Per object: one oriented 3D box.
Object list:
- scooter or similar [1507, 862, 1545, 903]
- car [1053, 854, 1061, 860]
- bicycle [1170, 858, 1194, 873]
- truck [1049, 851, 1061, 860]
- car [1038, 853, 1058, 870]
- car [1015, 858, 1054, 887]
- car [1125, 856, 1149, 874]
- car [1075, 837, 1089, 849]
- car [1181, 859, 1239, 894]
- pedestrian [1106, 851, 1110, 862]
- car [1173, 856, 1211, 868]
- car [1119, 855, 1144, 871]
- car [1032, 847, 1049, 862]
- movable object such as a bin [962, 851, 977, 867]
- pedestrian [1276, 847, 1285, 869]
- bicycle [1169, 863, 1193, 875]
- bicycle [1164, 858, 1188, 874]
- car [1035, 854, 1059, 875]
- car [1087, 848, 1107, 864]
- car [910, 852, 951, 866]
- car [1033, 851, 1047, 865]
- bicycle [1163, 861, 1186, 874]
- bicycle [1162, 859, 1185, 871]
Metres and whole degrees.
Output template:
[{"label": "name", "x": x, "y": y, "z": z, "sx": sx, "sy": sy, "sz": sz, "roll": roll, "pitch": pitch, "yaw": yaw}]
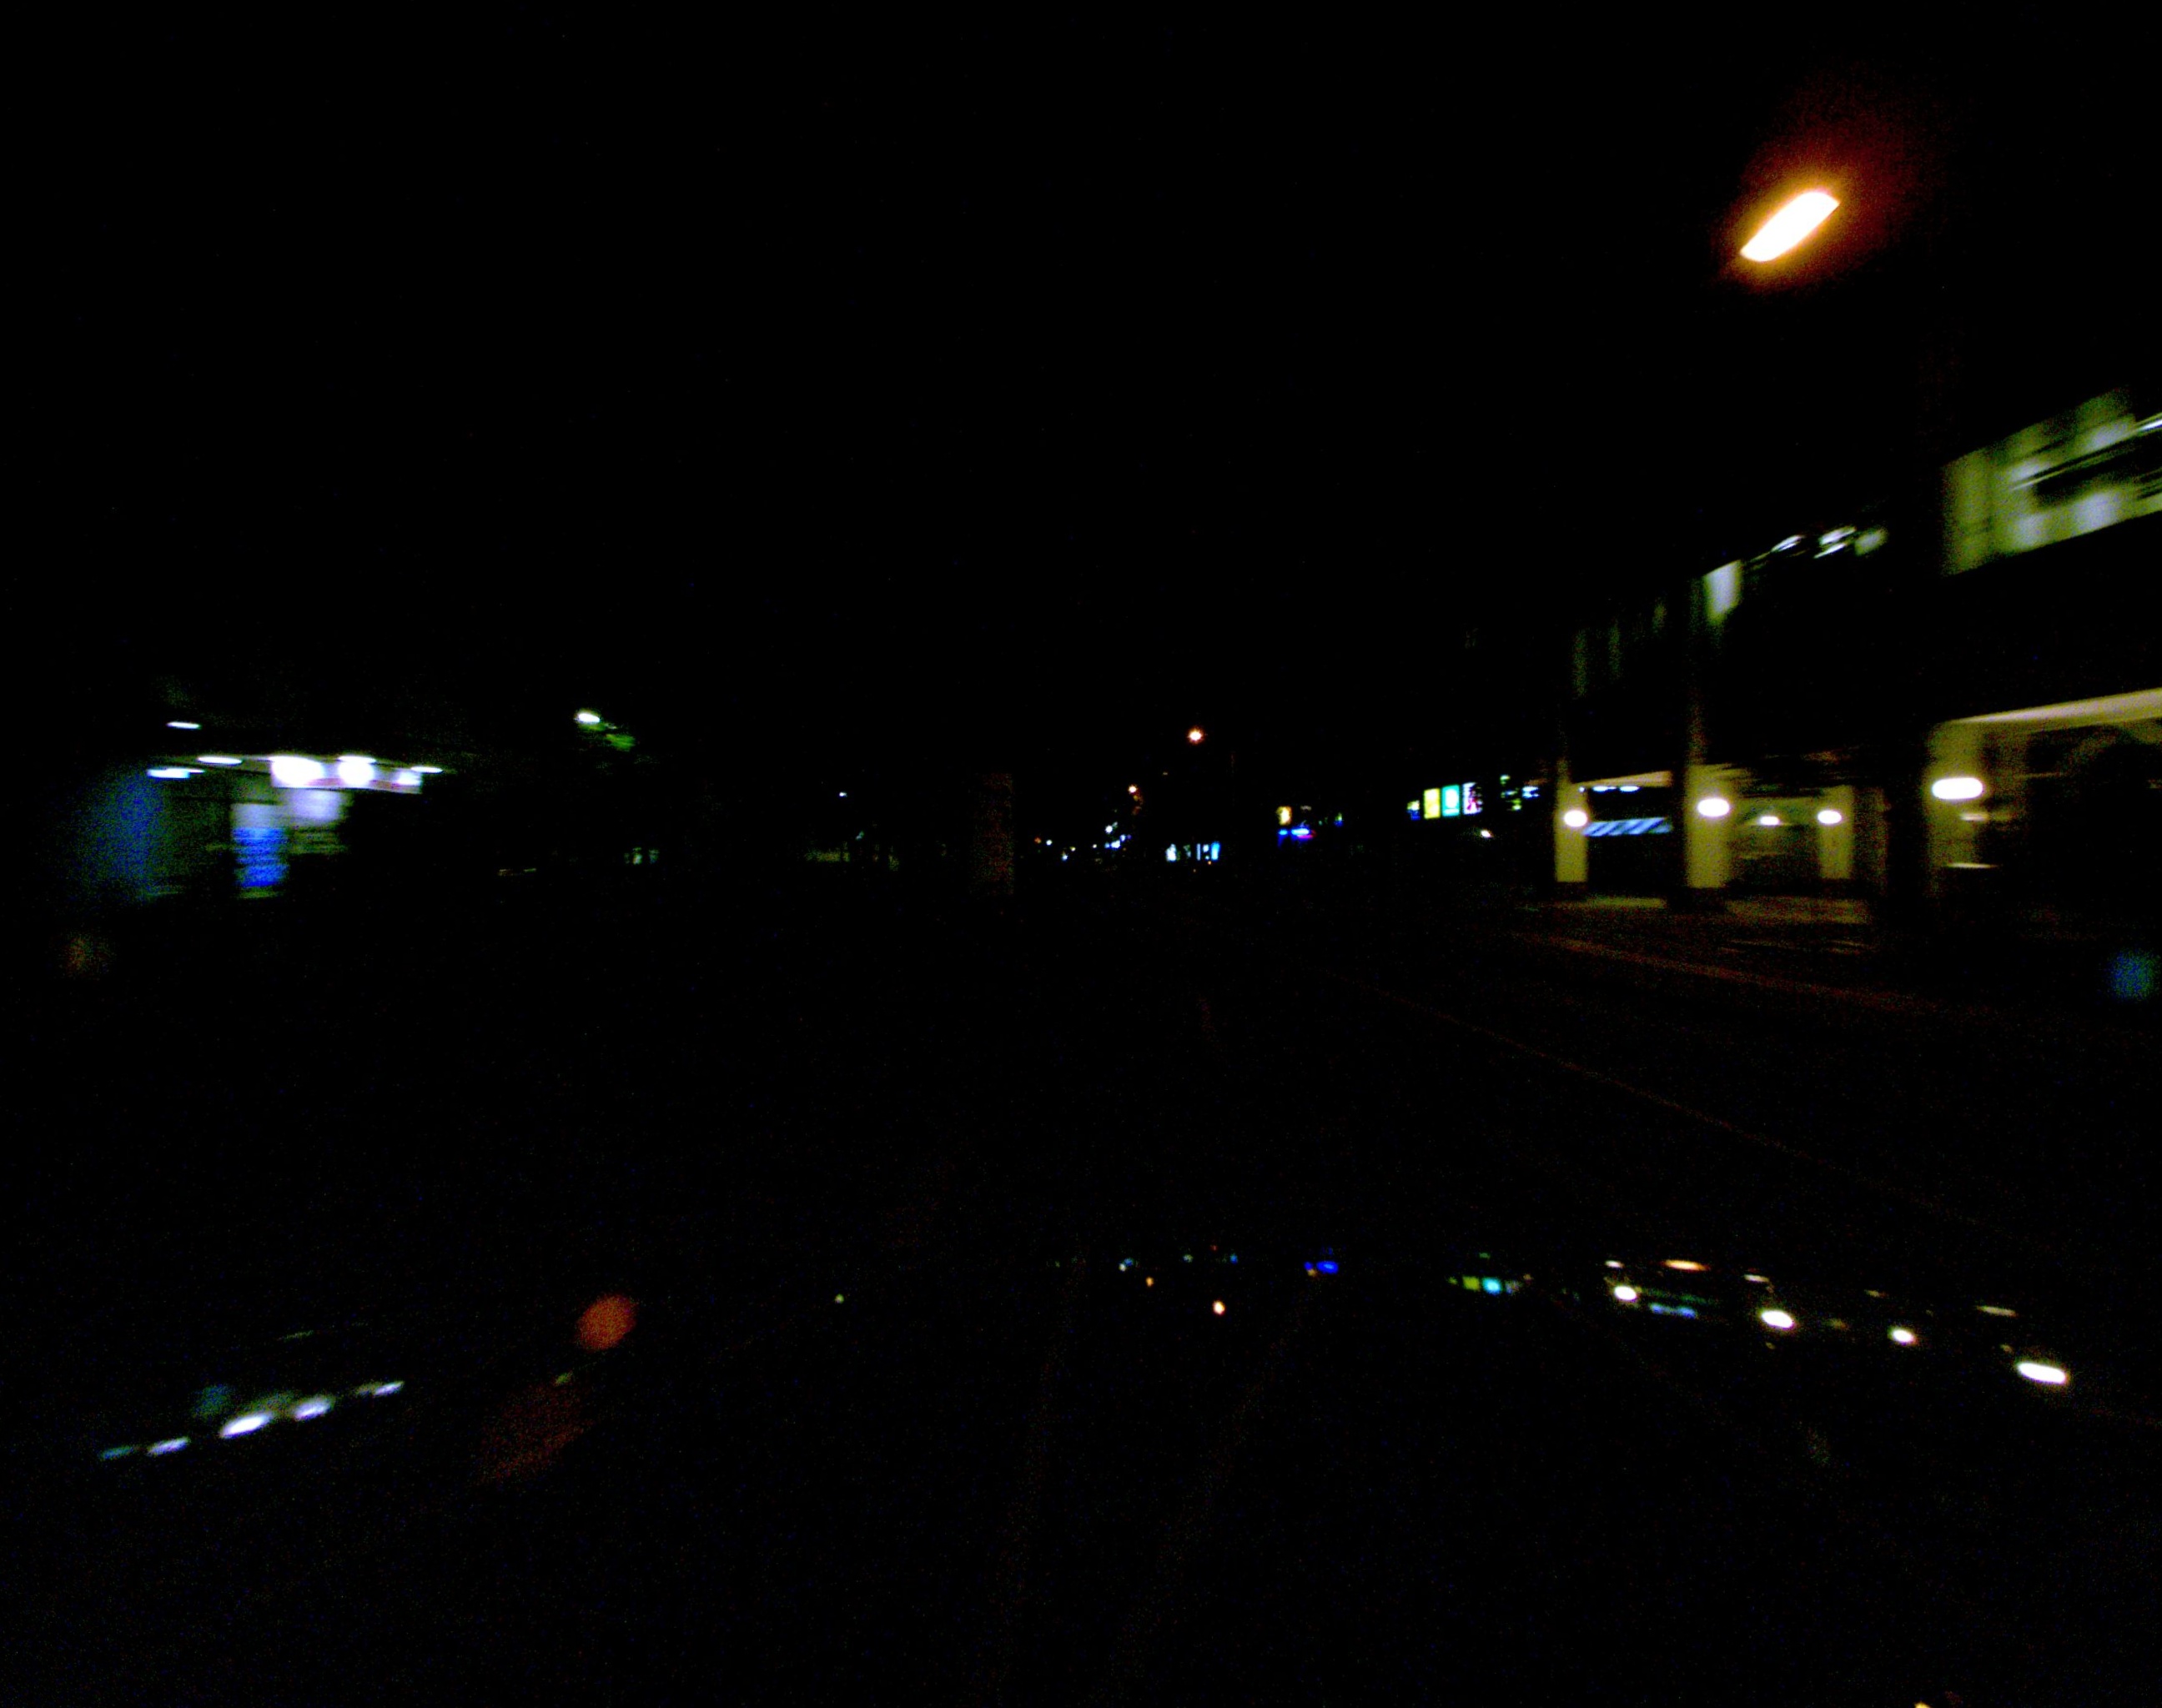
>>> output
[{"label": "scooter or similar", "x": 13.693, "y": 0.849, "z": 23.404, "sx": 0.388, "sy": 1.214, "sz": 1.344, "roll": 0, "pitch": 0, "yaw": 1}, {"label": "car", "x": -6.201, "y": 0.838, "z": 196.206, "sx": 1.737, "sy": 1.493, "sz": 4.001, "roll": 0, "pitch": 0, "yaw": 3}, {"label": "bicycle", "x": 8.075, "y": 0.925, "z": 60.724, "sx": 1.856, "sy": 1.159, "sz": 0.532, "roll": 0, "pitch": 1, "yaw": -2}, {"label": "truck", "x": -6.200, "y": 0.378, "z": 181.455, "sx": 2.110, "sy": 2.230, "sz": 6.288, "roll": 0, "pitch": 0, "yaw": 3}, {"label": "car", "x": -3.097, "y": 0.683, "z": 72.397, "sx": 1.775, "sy": 1.528, "sz": 4.215, "roll": 2, "pitch": 0, "yaw": -1}, {"label": "car", "x": -2.360, "y": 0.911, "z": 39.689, "sx": 1.769, "sy": 1.406, "sz": 4.807, "roll": 0, "pitch": 0, "yaw": -1}, {"label": "car", "x": 4.877, "y": 0.916, "z": 66.622, "sx": 1.726, "sy": 1.420, "sz": 3.975, "roll": -2, "pitch": 0, "yaw": -1}, {"label": "car", "x": 0.160, "y": -1.803, "z": 127.376, "sx": 1.930, "sy": 1.954, "sz": 5.075, "roll": -2, "pitch": 0, "yaw": -3}, {"label": "car", "x": 5.672, "y": 0.936, "z": 33.831, "sx": 1.746, "sy": 1.405, "sz": 4.495, "roll": -1, "pitch": 0, "yaw": -1}, {"label": "pedestrian", "x": 4.312, "y": 0.446, "z": 121.677, "sx": 0.720, "sy": 1.795, "sz": 0.716, "roll": 0, "pitch": 1, "yaw": -1}, {"label": "car", "x": 13.680, "y": 1.023, "z": 93.443, "sx": 4.340, "sy": 1.389, "sz": 1.803, "roll": -1, "pitch": 0, "yaw": -2}, {"label": "car", "x": 4.725, "y": 0.834, "z": 71.877, "sx": 1.811, "sy": 1.416, "sz": 4.920, "roll": -2, "pitch": 0, "yaw": -1}, {"label": "car", "x": -6.332, "y": 0.098, "z": 118.196, "sx": 2.141, "sy": 2.313, "sz": 5.147, "roll": 0, "pitch": 0, "yaw": -9}, {"label": "movable object such as a bin", "x": -9.460, "y": 0.445, "z": 64.752, "sx": 1.163, "sy": 1.363, "sz": 0.993, "roll": -1, "pitch": 1, "yaw": -3}, {"label": "pedestrian", "x": 15.179, "y": 0.290, "z": 57.871, "sx": 0.479, "sy": 1.627, "sz": 0.632, "roll": 0, "pitch": 1, "yaw": -1}, {"label": "bicycle", "x": 8.042, "y": 1.228, "z": 61.290, "sx": 1.856, "sy": 0.962, "sz": 0.501, "roll": 0, "pitch": 0, "yaw": -2}, {"label": "bicycle", "x": 7.764, "y": 0.981, "z": 62.236, "sx": 1.856, "sy": 1.246, "sz": 0.532, "roll": 0, "pitch": 1, "yaw": -2}, {"label": "car", "x": -2.613, "y": 0.794, "z": 58.957, "sx": 1.694, "sy": 1.528, "sz": 4.015, "roll": 1, "pitch": 0, "yaw": -1}, {"label": "car", "x": 2.150, "y": 0.261, "z": 103.234, "sx": 1.858, "sy": 2.075, "sz": 5.087, "roll": -2, "pitch": 0, "yaw": -7}, {"label": "car", "x": -17.110, "y": 0.576, "z": 86.662, "sx": 4.327, "sy": 1.523, "sz": 1.802, "roll": 0, "pitch": 2, "yaw": -3}, {"label": "car", "x": -5.348, "y": 0.517, "z": 100.060, "sx": 1.794, "sy": 1.811, "sz": 4.578, "roll": 0, "pitch": 0, "yaw": -3}, {"label": "bicycle", "x": 7.747, "y": 1.089, "z": 62.979, "sx": 1.856, "sy": 1.029, "sz": 0.532, "roll": -2, "pitch": 1, "yaw": -2}, {"label": "bicycle", "x": 7.747, "y": 0.911, "z": 63.896, "sx": 1.856, "sy": 0.994, "sz": 0.532, "roll": -2, "pitch": 1, "yaw": -2}]
